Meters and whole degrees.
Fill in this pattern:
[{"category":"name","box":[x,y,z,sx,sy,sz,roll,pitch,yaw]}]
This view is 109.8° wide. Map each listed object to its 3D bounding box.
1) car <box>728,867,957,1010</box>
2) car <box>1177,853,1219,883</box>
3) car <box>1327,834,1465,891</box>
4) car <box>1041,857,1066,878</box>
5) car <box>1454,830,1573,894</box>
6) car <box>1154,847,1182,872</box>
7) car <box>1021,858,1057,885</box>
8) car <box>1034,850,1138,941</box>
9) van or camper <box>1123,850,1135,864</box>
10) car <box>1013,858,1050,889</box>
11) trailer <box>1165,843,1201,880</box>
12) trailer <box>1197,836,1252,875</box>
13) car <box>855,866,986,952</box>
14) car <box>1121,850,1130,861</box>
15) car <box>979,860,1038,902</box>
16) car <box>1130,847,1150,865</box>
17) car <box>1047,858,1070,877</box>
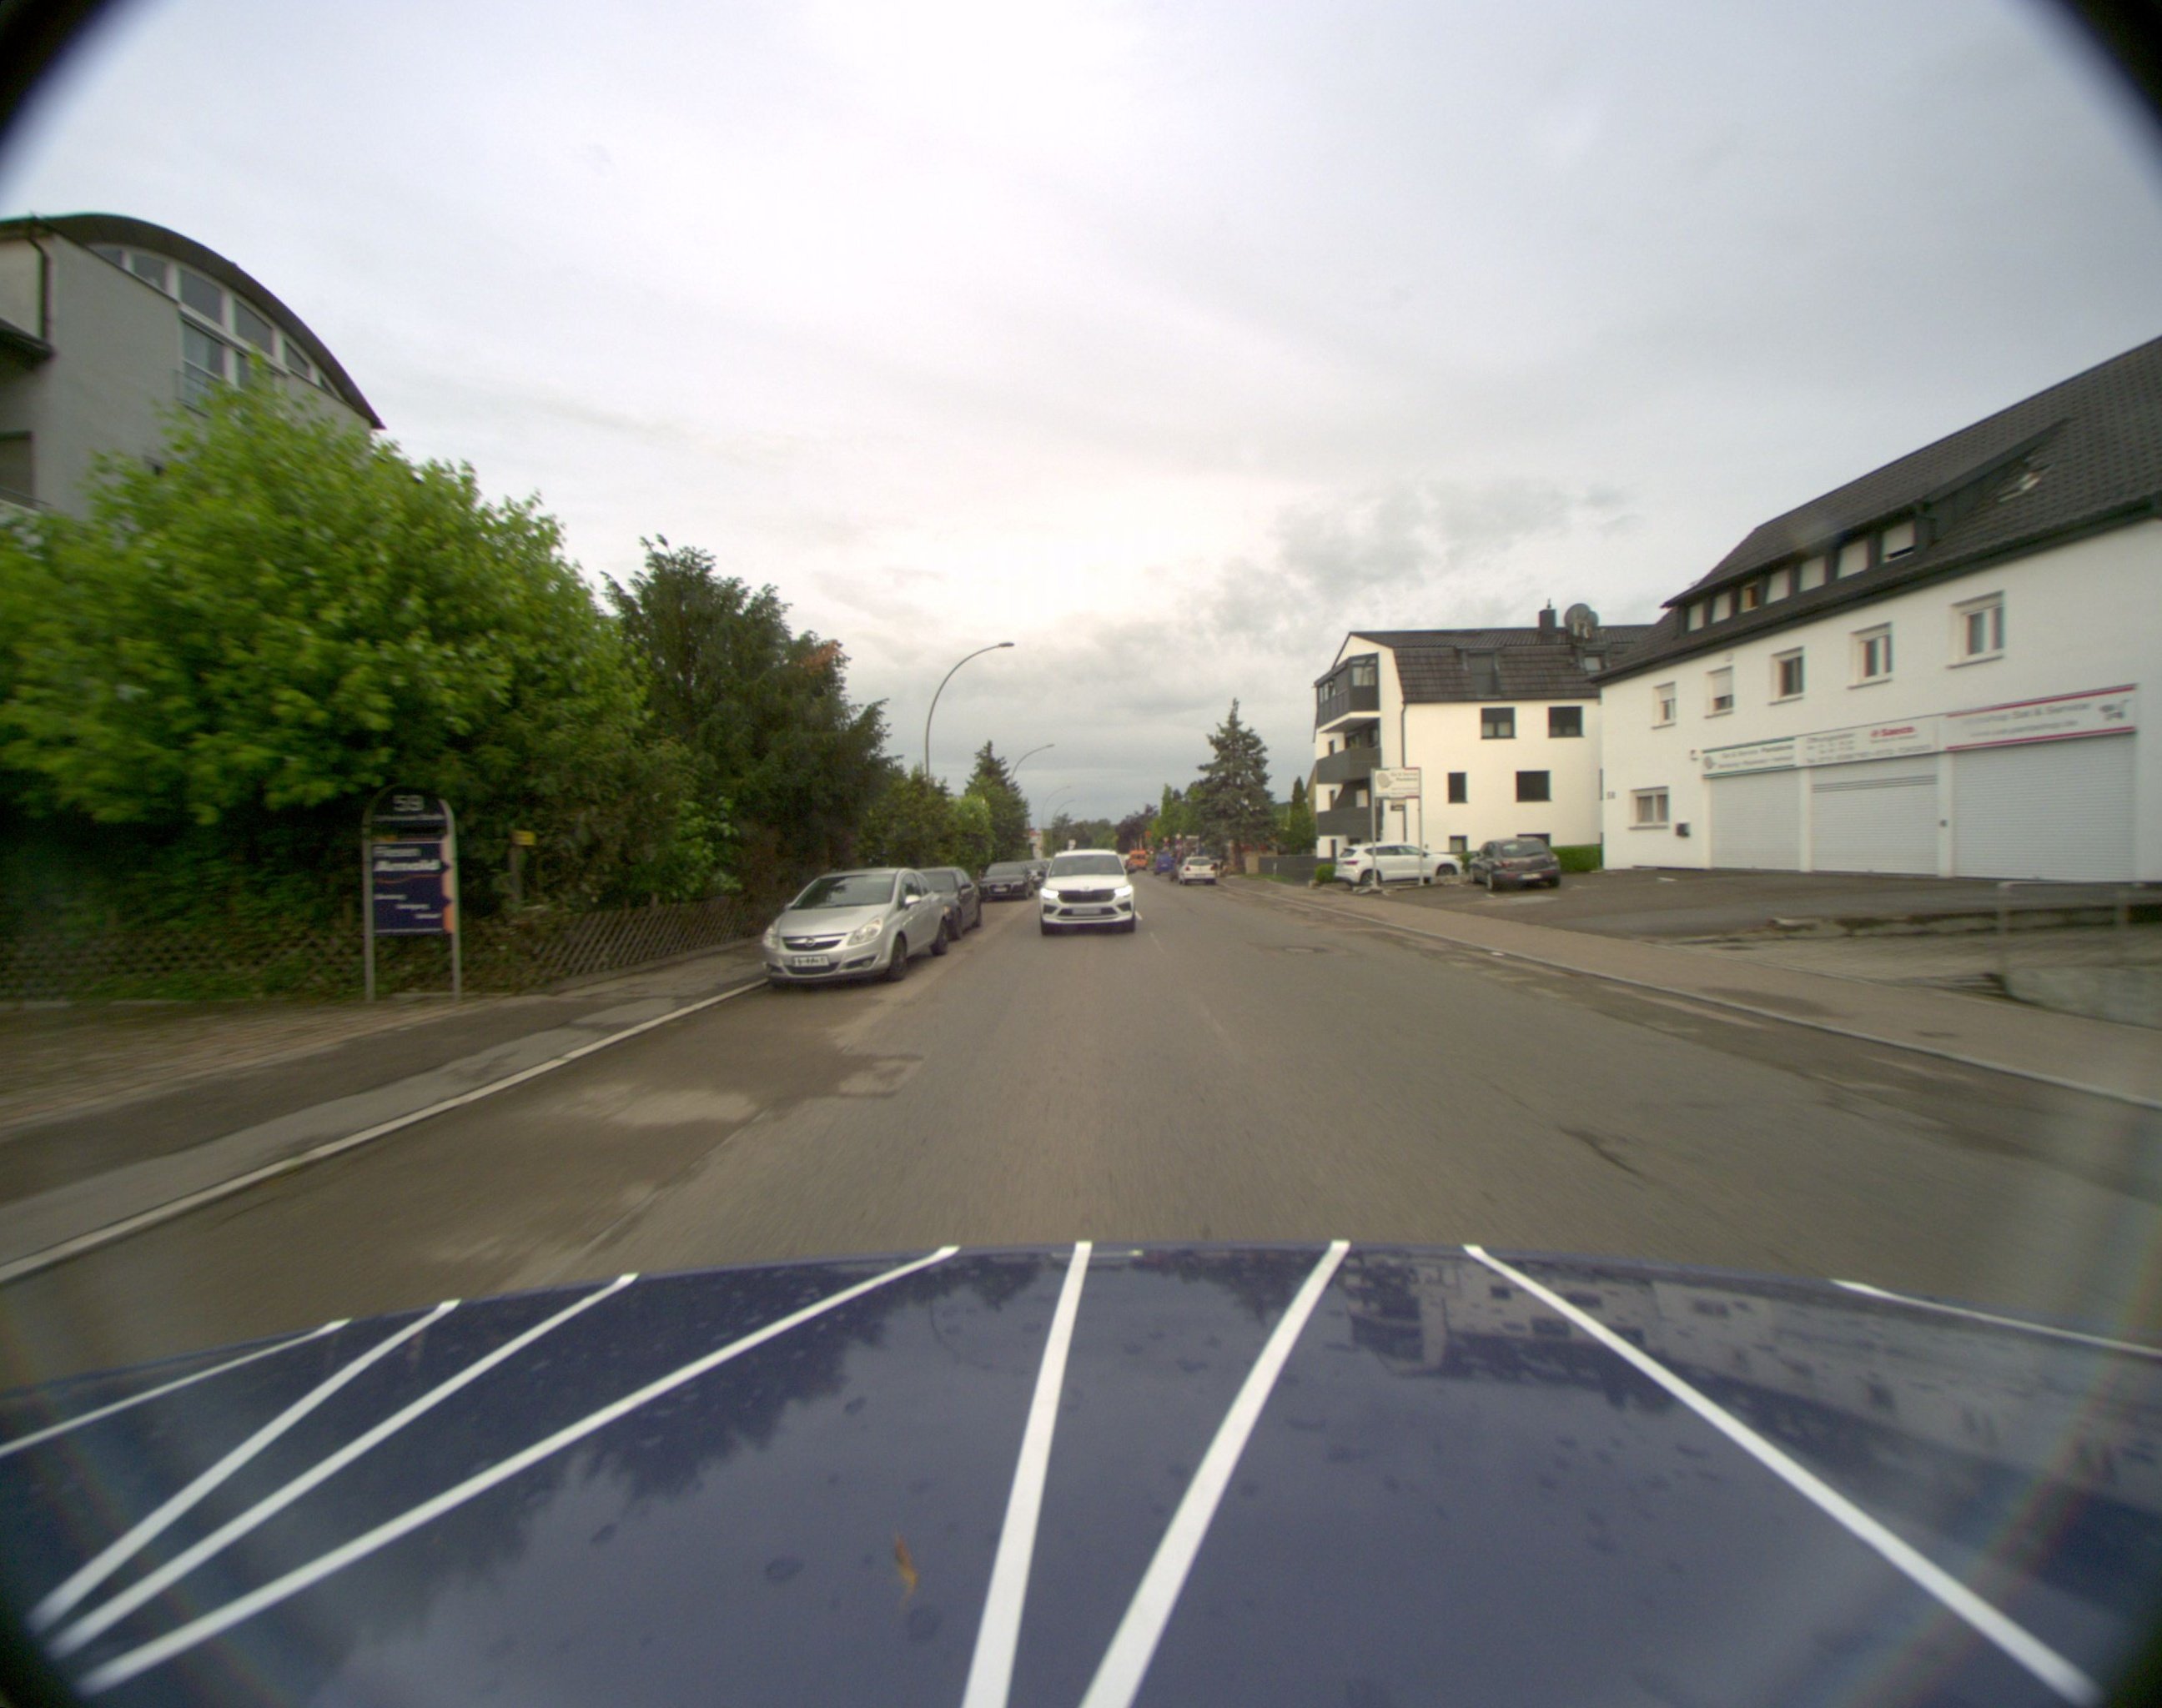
[{"category":"car","box":[-3.072,1.010,10.707,1.741,1.493,3.882,-3,0,3]},{"category":"car","box":[6.257,0.709,41.034,1.740,1.496,3.871,-1,0,2]},{"category":"car","box":[11.197,0.290,27.227,3.997,1.637,2.000,-5,0,-1]},{"category":"car","box":[-2.114,1.006,59.404,1.677,1.455,3.690,-3,0,1]},{"category":"car","box":[12.633,0.175,22.471,1.823,1.521,4.003,-7,0,13]},{"category":"car","box":[7.464,0.460,65.531,1.998,2.112,4.755,-1,0,2]},{"category":"car","box":[-2.369,0.948,43.406,1.766,1.431,4.484,-1,0,0]},{"category":"car","box":[0.152,0.762,16.456,1.884,1.650,4.831,-1,0,1]},{"category":"van or camper","box":[8.150,0.464,128.655,1.811,2.328,4.000,-2,0,3]},{"category":"car","box":[-2.469,0.940,38.740,1.656,1.431,4.043,-1,0,-1]},{"category":"trailer","box":[6.358,0.429,47.675,1.721,2.114,4.007,-2,1,1]},{"category":"trailer","box":[11.820,0.112,62.880,4.059,3.029,2.168,-2,1,1]},{"category":"car","box":[-3.144,1.029,15.641,1.742,1.395,3.718,-3,0,1]},{"category":"car","box":[9.611,0.317,163.561,1.659,2.221,3.744,-2,1,1]},{"category":"car","box":[-2.713,0.980,29.216,1.756,1.410,4.110,-1,0,1]},{"category":"car","box":[7.516,0.278,97.254,2.264,2.275,4.531,1,0,1]},{"category":"car","box":[-1.889,1.139,65.163,1.677,1.455,3.551,-3,0,1]}]
